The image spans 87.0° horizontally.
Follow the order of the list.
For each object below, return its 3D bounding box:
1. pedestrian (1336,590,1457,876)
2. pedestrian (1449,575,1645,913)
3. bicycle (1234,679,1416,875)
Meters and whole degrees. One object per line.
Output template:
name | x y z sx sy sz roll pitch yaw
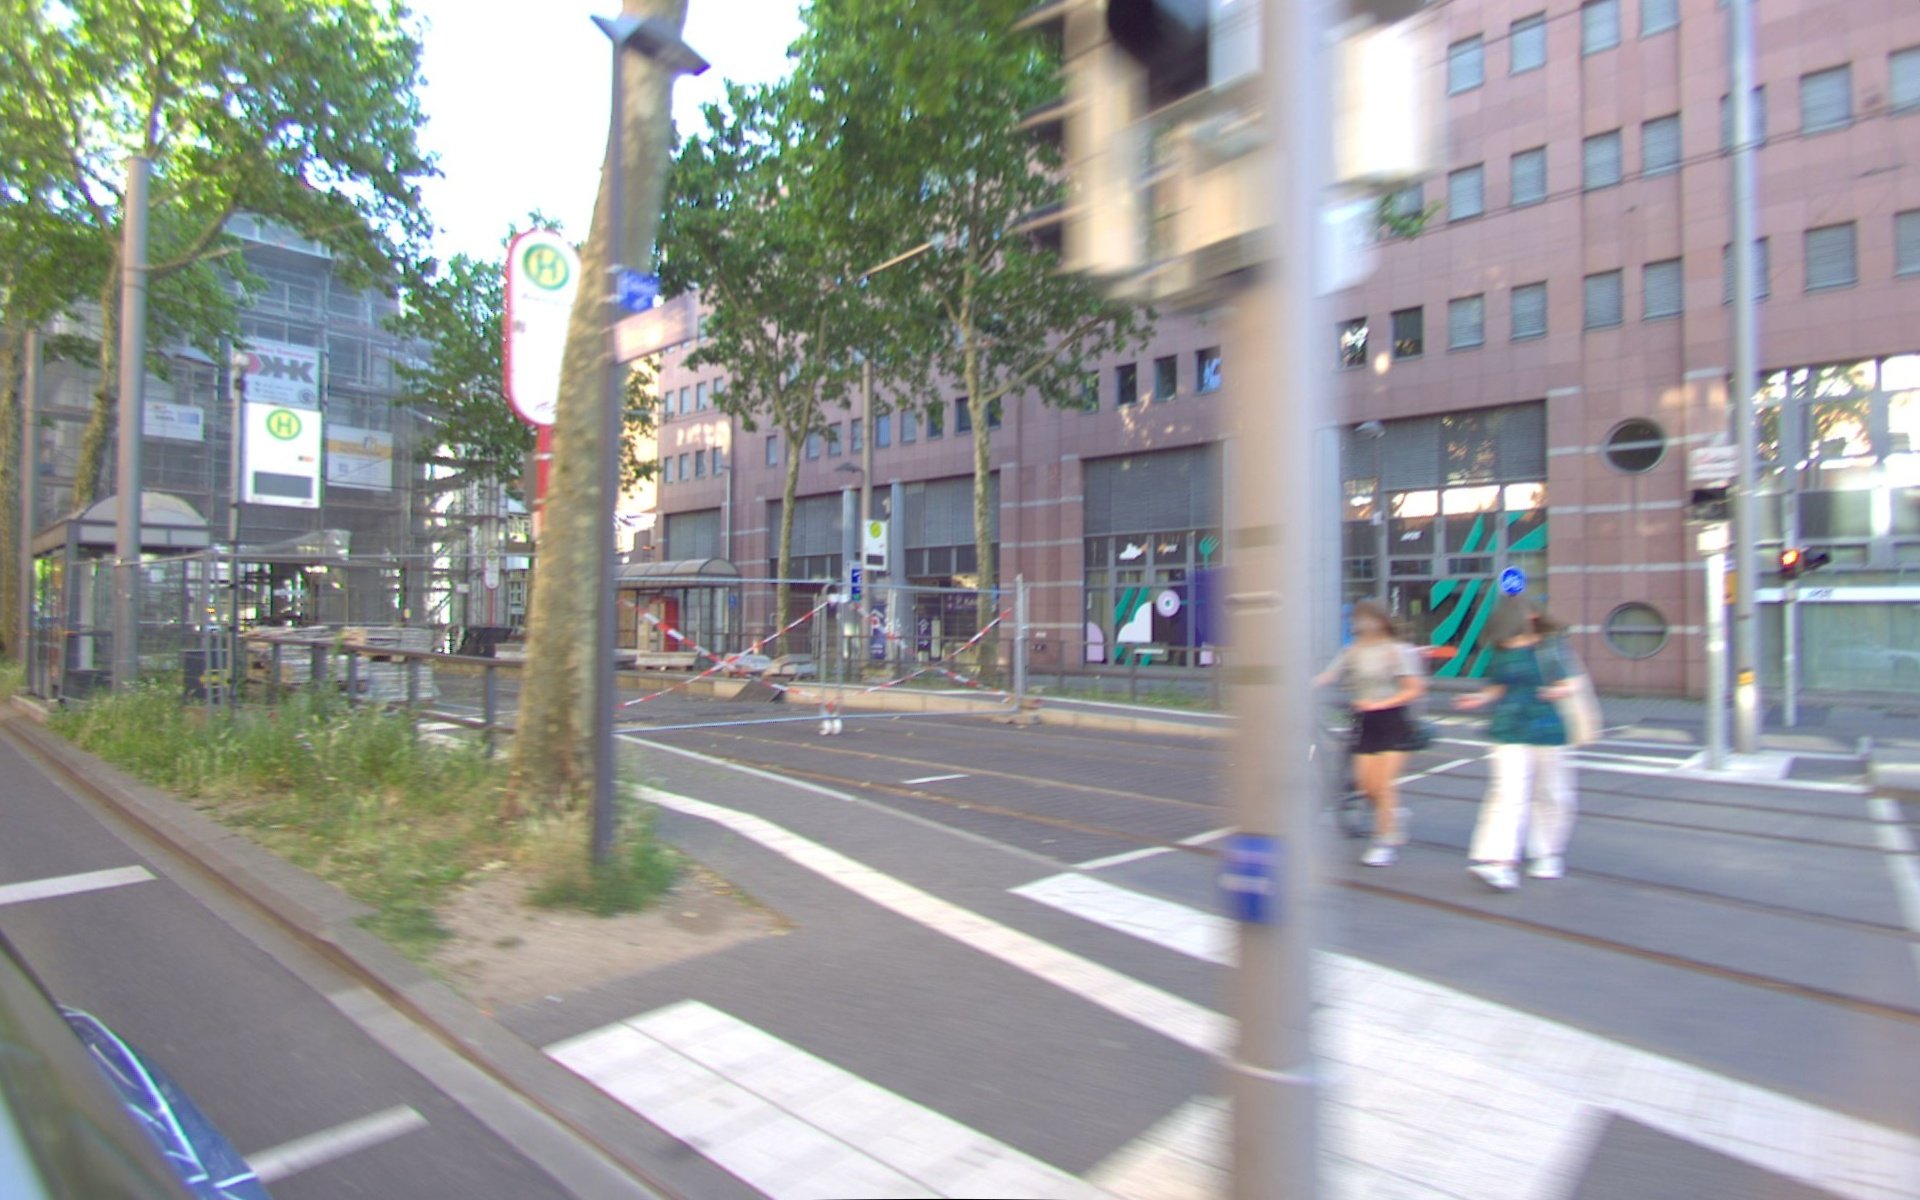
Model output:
pedestrian | 2.759 0.797 6.397 0.531 1.692 0.560 -2 -3 43
pedestrian | 3.384 0.761 5.833 0.847 1.748 0.770 -1 -3 39
bicycle | 2.507 1.111 6.831 0.481 1.087 1.809 -2 -3 43
